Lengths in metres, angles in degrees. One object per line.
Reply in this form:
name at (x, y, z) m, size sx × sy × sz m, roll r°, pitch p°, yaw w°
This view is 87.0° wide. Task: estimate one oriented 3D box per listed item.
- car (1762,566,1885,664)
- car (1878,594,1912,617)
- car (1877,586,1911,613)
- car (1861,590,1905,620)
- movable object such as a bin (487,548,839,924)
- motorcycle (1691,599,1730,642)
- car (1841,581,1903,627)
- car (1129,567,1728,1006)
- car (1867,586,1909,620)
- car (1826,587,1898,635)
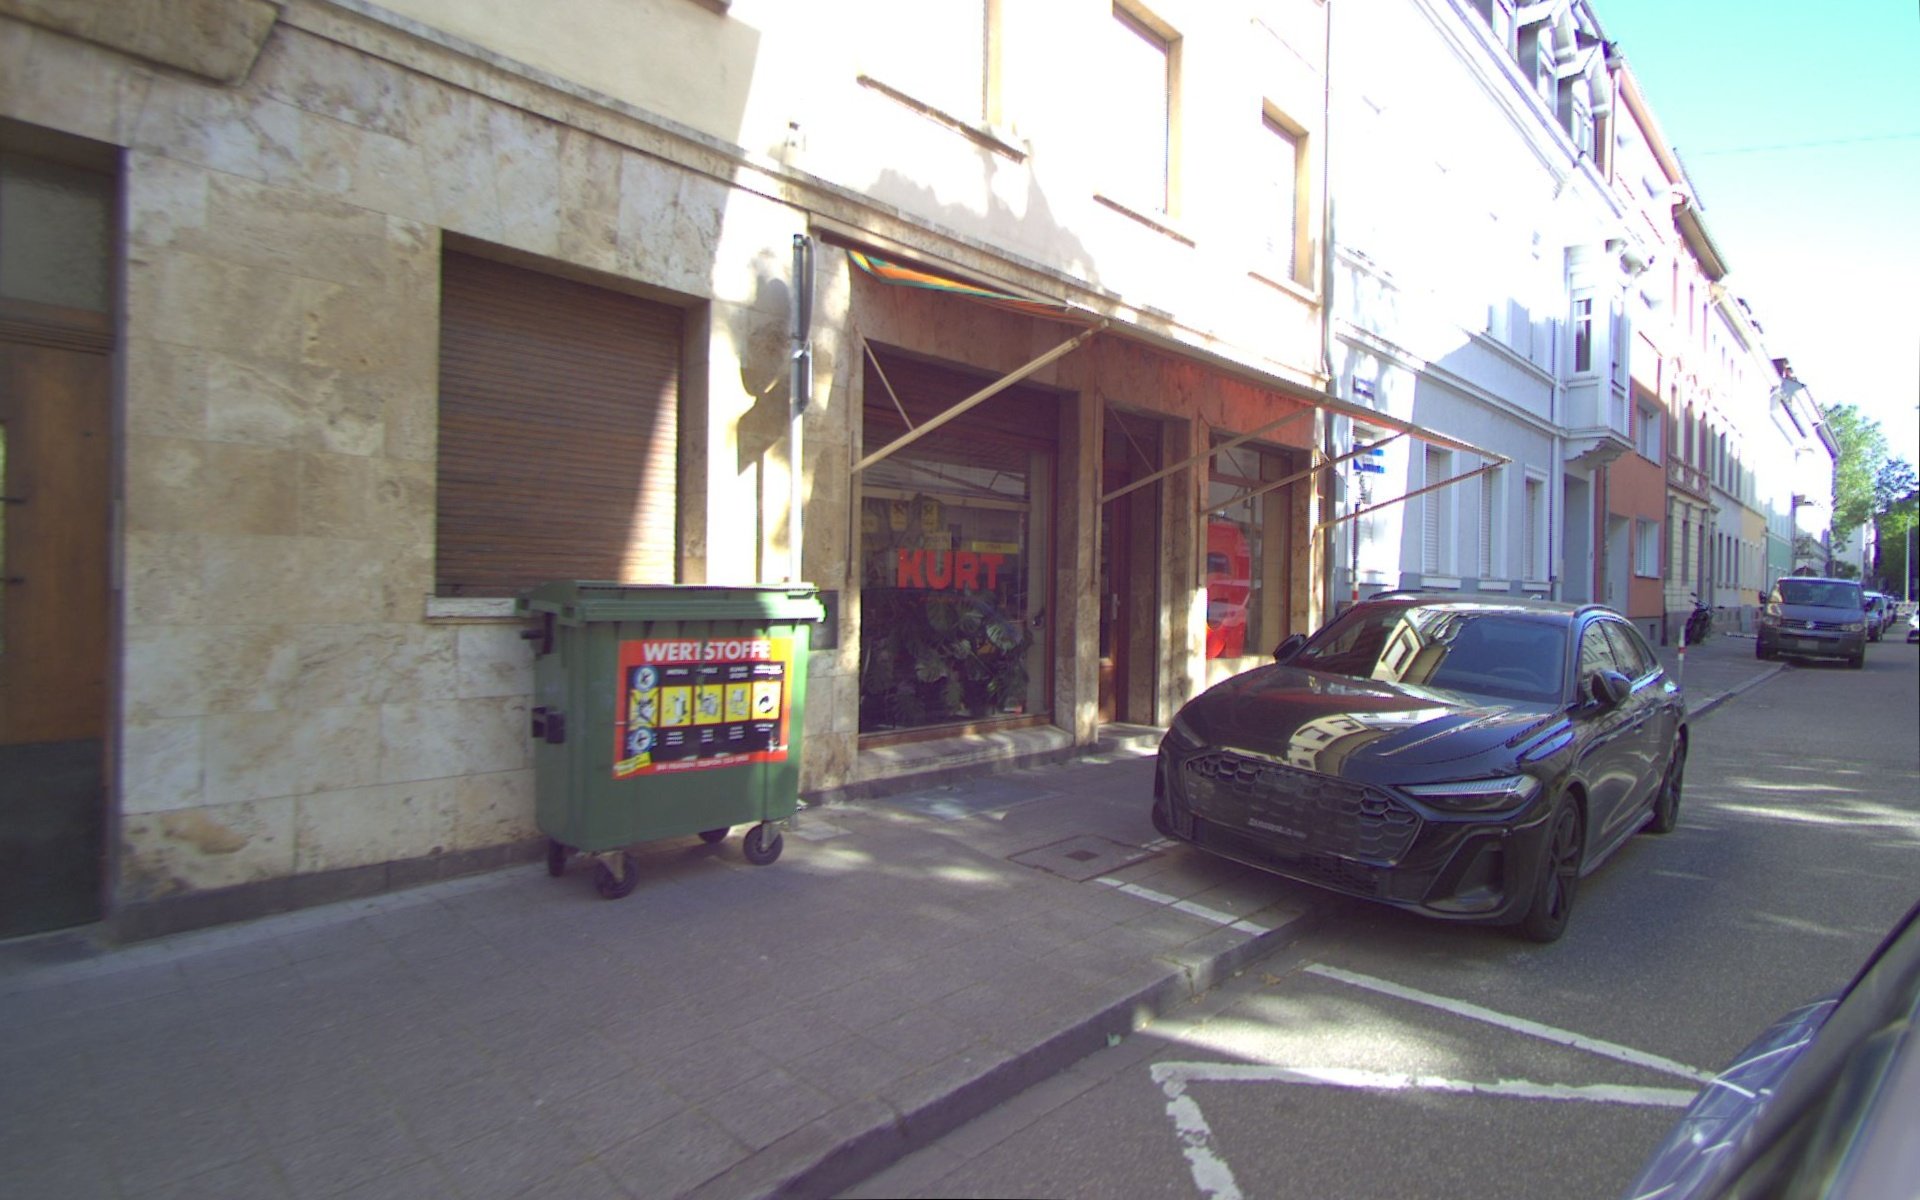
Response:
car at (20.254, 0.312, 23.665) m, size 1.969 × 2.054 × 4.823 m, roll -1°, pitch 0°, yaw 43°
car at (62.126, 0.363, 67.231) m, size 1.585 × 1.434 × 3.501 m, roll 1°, pitch 2°, yaw 44°
car at (69.693, -0.098, 75.474) m, size 1.782 × 1.901 × 3.958 m, roll 1°, pitch 2°, yaw 44°
car at (47.547, 0.278, 52.114) m, size 1.574 × 1.487 × 3.807 m, roll 1°, pitch 0°, yaw 44°
movable object such as a bin at (-1.345, 0.517, 4.689) m, size 1.350 × 1.454 × 0.747 m, roll 0°, pitch 3°, yaw -44°
motorcycle at (20.511, 0.535, 27.642) m, size 0.636 × 1.057 × 2.328 m, roll 1°, pitch 2°, yaw 42°
car at (41.138, 0.137, 45.612) m, size 1.894 × 1.909 × 4.387 m, roll 1°, pitch 2°, yaw 44°
car at (3.134, 0.653, 6.060) m, size 1.801 × 1.599 × 4.820 m, roll 0°, pitch 0°, yaw 44°
car at (51.475, 0.144, 56.115) m, size 1.601 × 1.805 × 3.700 m, roll 1°, pitch 1°, yaw 44°
car at (32.302, 0.360, 36.206) m, size 1.741 × 1.561 × 3.987 m, roll 1°, pitch 2°, yaw 44°
